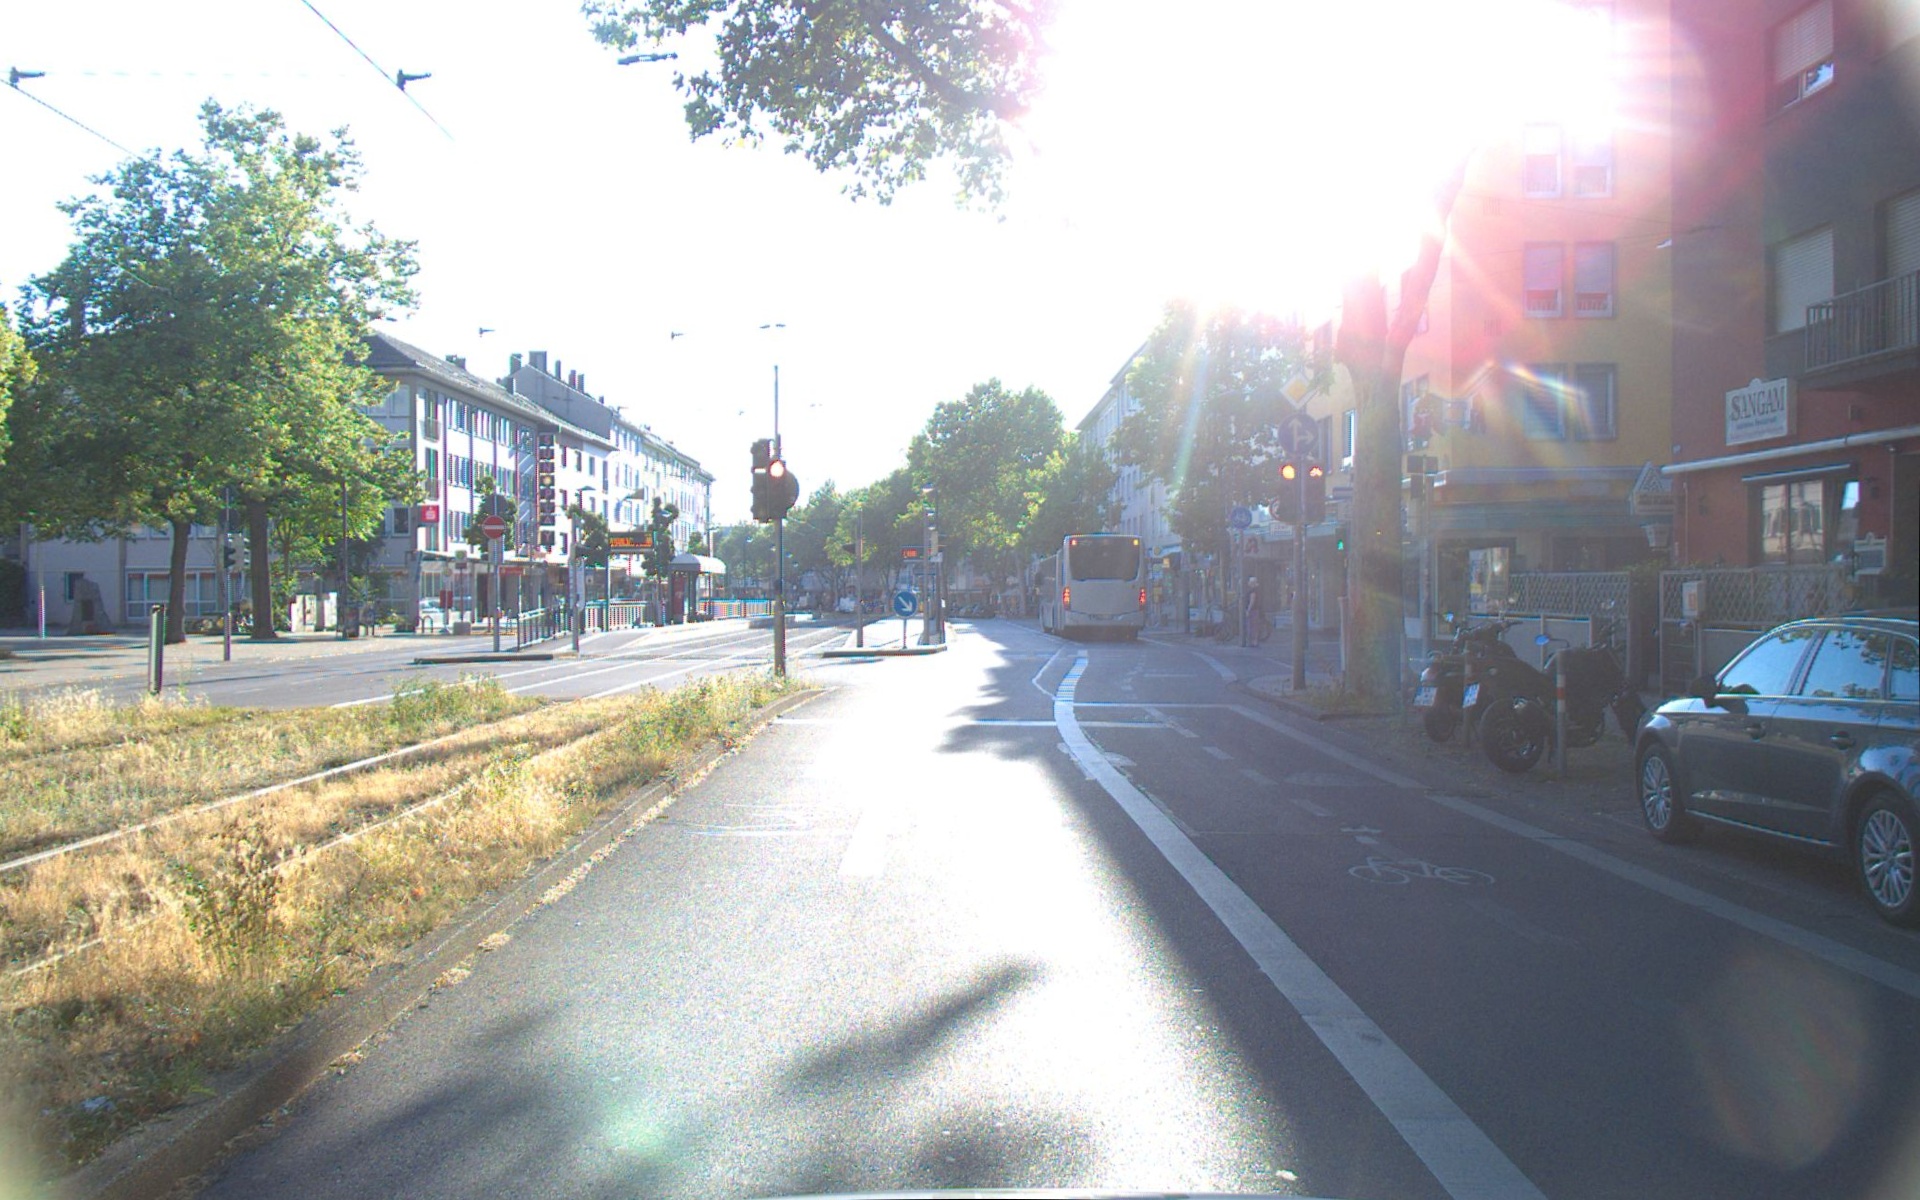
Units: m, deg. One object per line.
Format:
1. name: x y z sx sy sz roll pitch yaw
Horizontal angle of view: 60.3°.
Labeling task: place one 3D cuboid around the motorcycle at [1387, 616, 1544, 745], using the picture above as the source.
1. motorcycle: 5.097 0.772 16.591 1.982 1.172 0.592 -1 0 -43

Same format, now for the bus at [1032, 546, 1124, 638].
1. bus: 4.339 -0.299 62.614 2.754 3.155 9.093 2 0 0

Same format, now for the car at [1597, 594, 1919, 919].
1. car: 5.156 0.699 9.069 1.675 1.421 4.321 -1 0 0

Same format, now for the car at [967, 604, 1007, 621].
1. car: 2.796 1.282 173.329 3.847 1.729 1.816 -1 0 -29

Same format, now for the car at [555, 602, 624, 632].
1. car: -23.381 1.050 104.408 3.939 1.847 1.983 -1 0 -27

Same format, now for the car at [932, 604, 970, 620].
1. car: -0.992 1.288 181.153 3.847 1.624 1.675 -1 0 -29

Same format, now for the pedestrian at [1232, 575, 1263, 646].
1. pedestrian: 7.365 0.266 42.442 0.666 1.801 0.687 -1 0 0

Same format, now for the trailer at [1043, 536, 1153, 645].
1. trailer: 4.341 -0.299 53.666 2.754 3.164 8.794 2 0 0

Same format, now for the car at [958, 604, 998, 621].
1. car: 1.926 1.286 176.706 3.847 1.729 1.816 -1 0 -29

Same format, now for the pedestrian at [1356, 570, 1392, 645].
1. pedestrian: 10.043 0.183 40.162 0.666 1.801 0.687 1 0 0

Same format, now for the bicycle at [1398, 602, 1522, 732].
1. bicycle: 5.452 0.694 17.972 0.683 1.224 1.839 1 4 38

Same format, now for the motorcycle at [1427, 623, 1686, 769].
1. motorcycle: 5.205 0.804 14.416 2.176 1.081 0.762 -3 1 -23

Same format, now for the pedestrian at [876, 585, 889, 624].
1. pedestrian: -1.804 0.113 38.367 0.285 0.890 0.344 1 0 -3

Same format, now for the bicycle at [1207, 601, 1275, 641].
1. bicycle: 7.787 0.574 45.900 1.736 1.039 0.694 -2 0 -1

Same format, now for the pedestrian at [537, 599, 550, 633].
1. pedestrian: -25.807 0.991 102.511 0.696 2.049 0.946 -1 0 -11
